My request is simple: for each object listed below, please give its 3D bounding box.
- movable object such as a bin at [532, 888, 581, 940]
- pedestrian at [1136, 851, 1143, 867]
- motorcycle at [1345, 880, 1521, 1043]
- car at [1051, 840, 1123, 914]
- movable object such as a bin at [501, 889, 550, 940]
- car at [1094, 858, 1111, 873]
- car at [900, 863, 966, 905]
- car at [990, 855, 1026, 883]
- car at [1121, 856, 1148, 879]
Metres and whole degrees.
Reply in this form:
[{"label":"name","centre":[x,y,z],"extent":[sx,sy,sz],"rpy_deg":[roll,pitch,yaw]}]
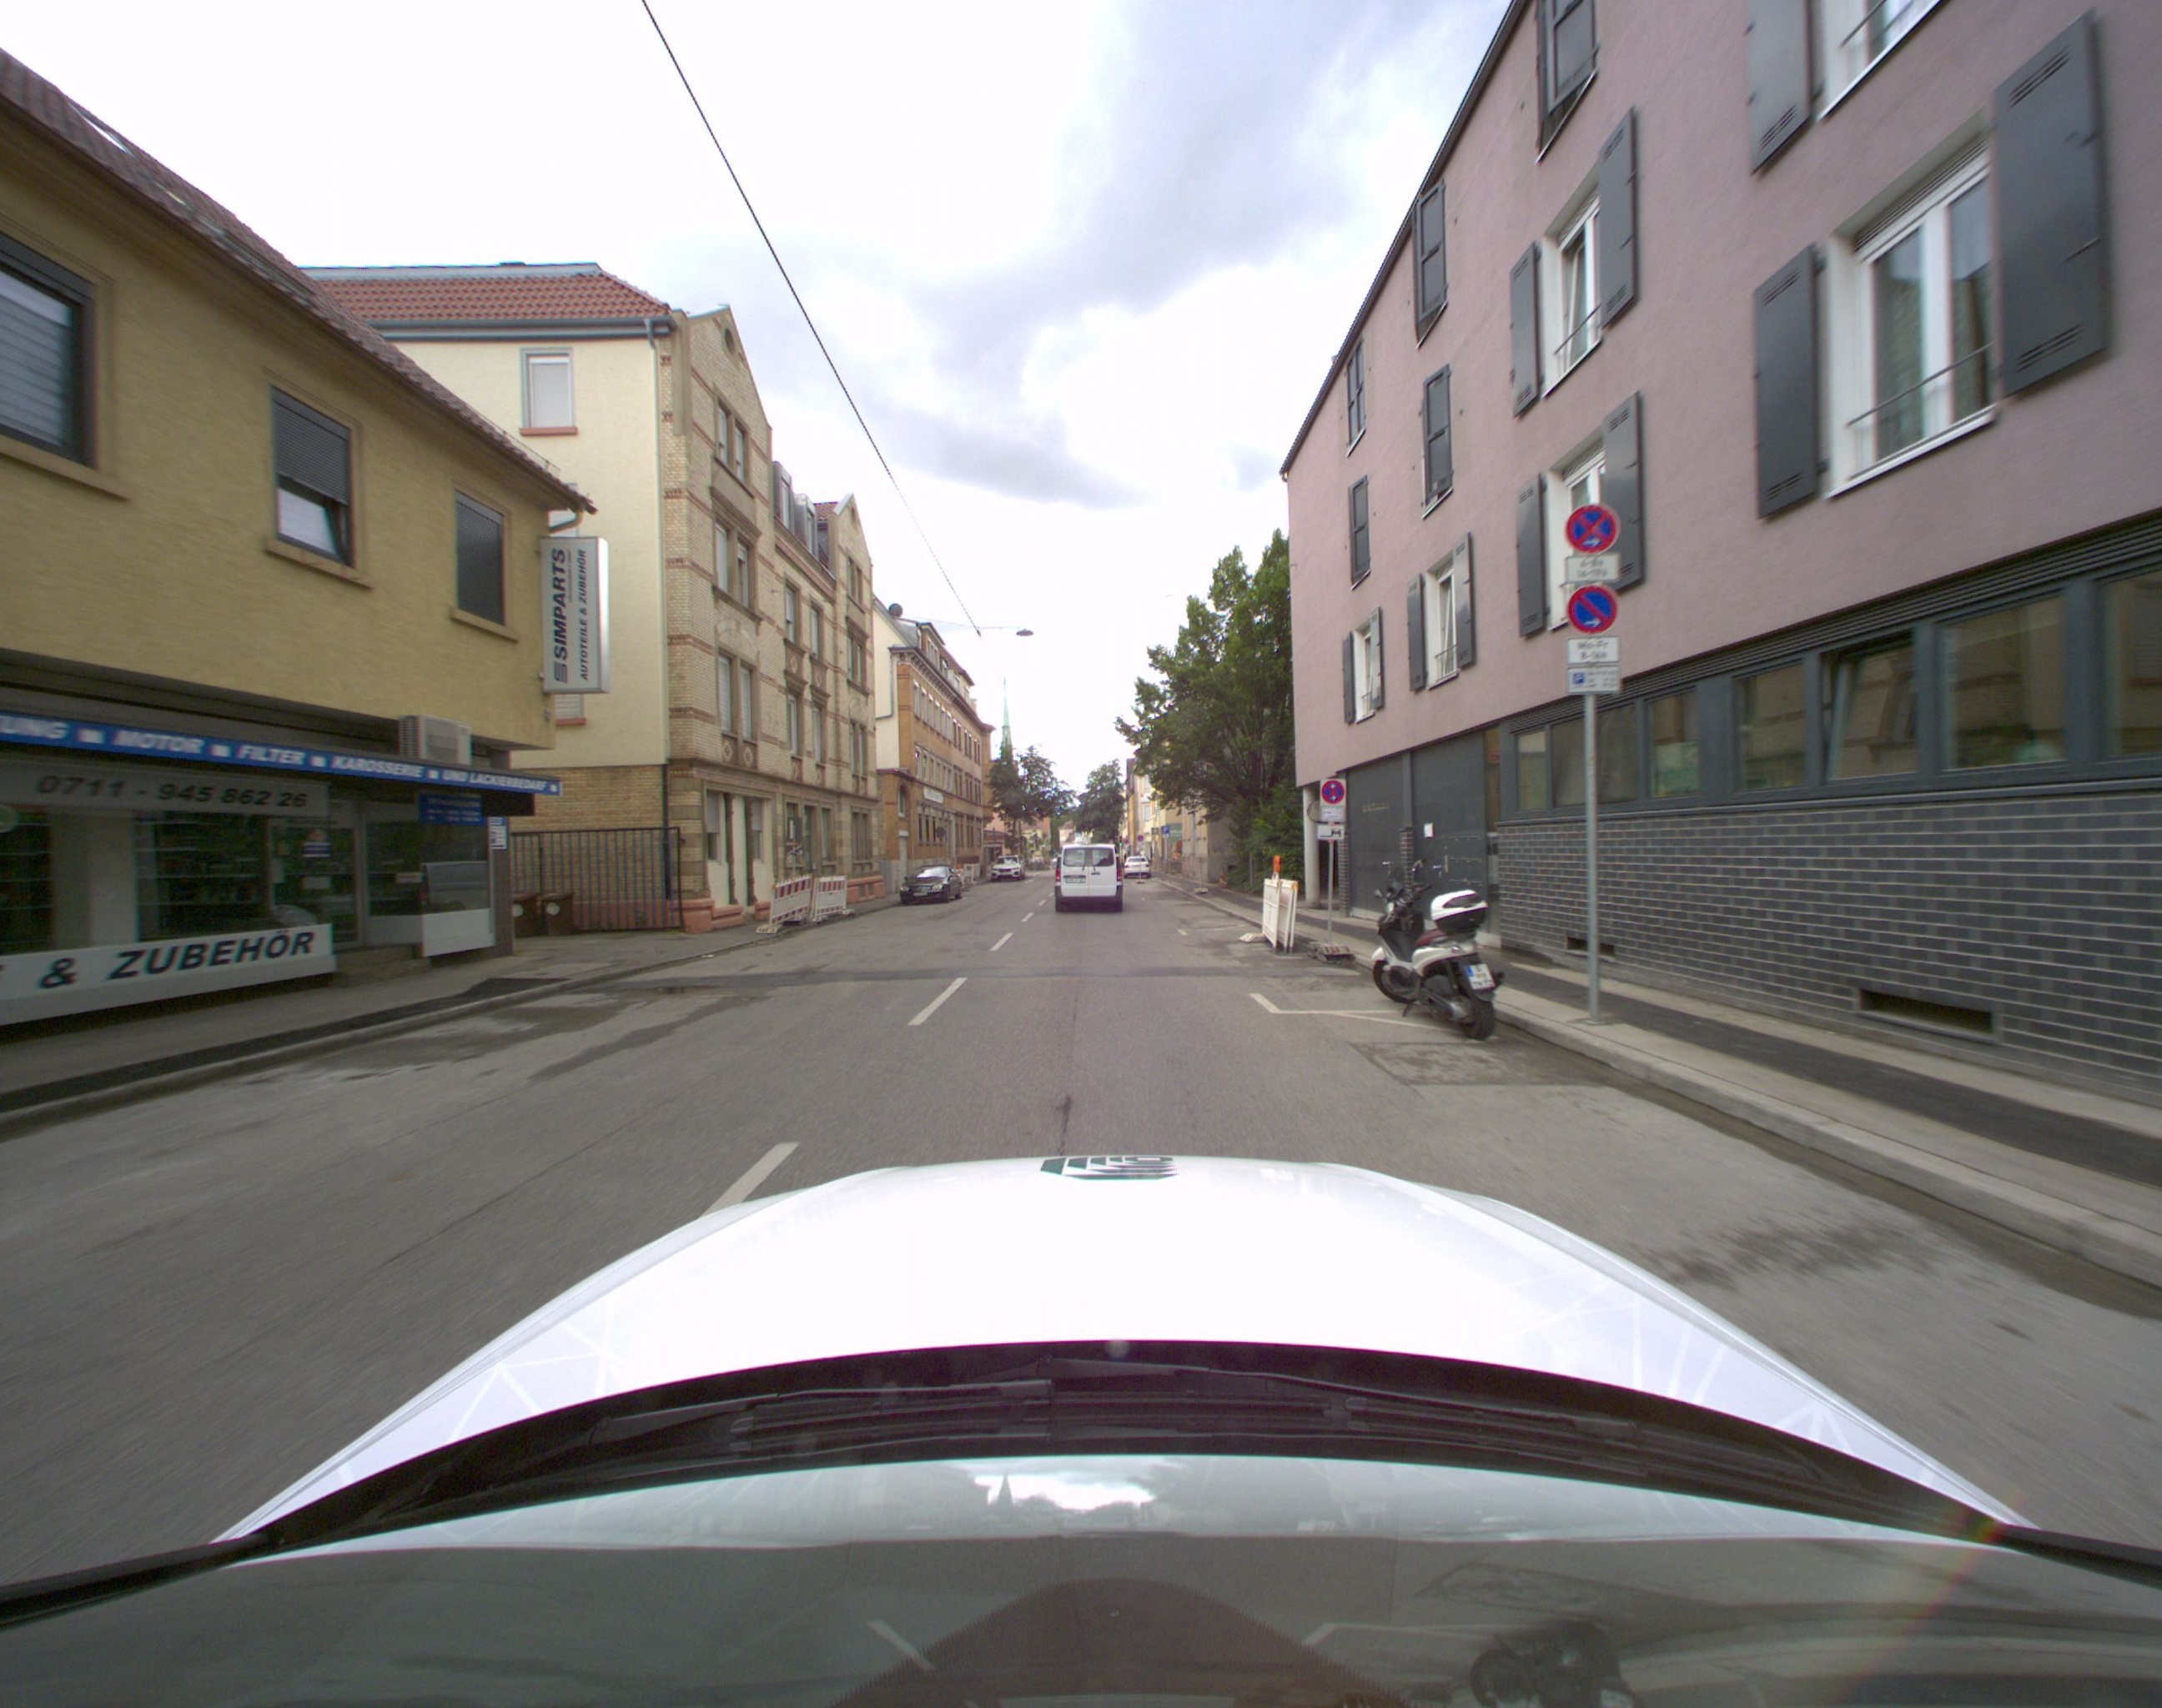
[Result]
[{"label":"movable object such as a bin","centre":[-11.248,1.285,17.476],"extent":[0.590,1.035,0.613],"rpy_deg":[-3,-1,3]},{"label":"pedestrian","centre":[6.093,0.523,84.558],"extent":[0.613,1.653,0.982],"rpy_deg":[0,0,-2]},{"label":"motorcycle","centre":[3.163,0.885,7.611],"extent":[0.644,1.226,2.337],"rpy_deg":[0,0,1]},{"label":"car","centre":[0.159,0.629,23.657],"extent":[1.867,1.912,3.999],"rpy_deg":[-1,0,0]},{"label":"movable object such as a bin","centre":[-11.911,1.292,17.481],"extent":[0.590,1.035,0.613],"rpy_deg":[-1,0,3]},{"label":"car","centre":[2.713,1.505,104.662],"extent":[1.815,1.781,4.399],"rpy_deg":[-1,-1,-2]},{"label":"car","centre":[-5.562,1.094,31.036],"extent":[1.573,1.383,4.355],"rpy_deg":[-3,0,1]},{"label":"car","centre":[-4.937,1.008,55.943],"extent":[1.885,1.712,4.741],"rpy_deg":[-3,0,1]},{"label":"car","centre":[3.691,0.895,56.065],"extent":[1.760,1.466,4.787],"rpy_deg":[-1,0,3]}]
